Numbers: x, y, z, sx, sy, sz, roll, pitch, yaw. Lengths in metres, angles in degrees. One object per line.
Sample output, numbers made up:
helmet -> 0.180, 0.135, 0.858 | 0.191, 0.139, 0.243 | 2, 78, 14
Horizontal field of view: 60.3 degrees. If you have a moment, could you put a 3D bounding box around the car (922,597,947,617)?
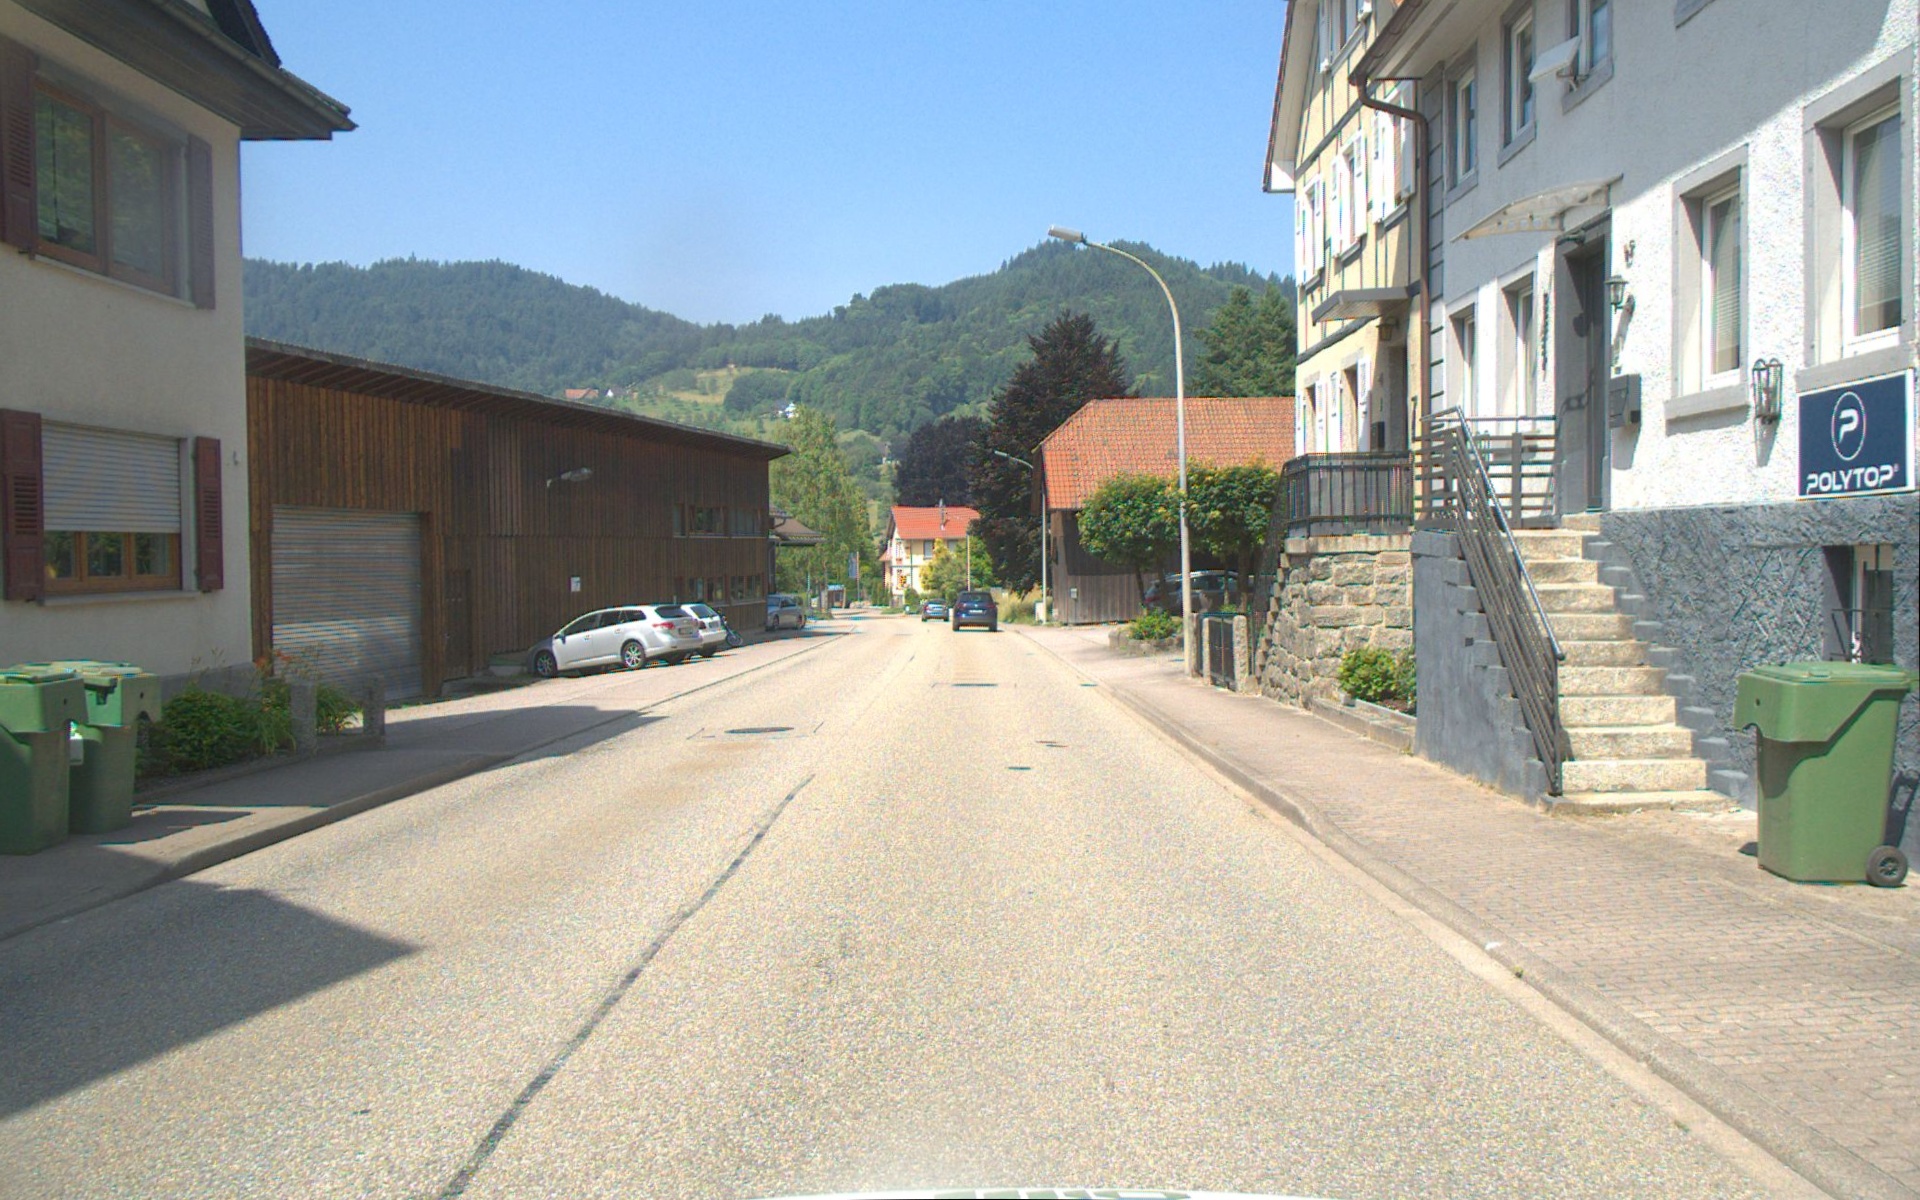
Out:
car -> -1.705, 0.446, 110.945 | 1.448, 1.230, 2.382 | -2, 0, -5

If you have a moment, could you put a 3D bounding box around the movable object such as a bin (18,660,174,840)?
movable object such as a bin -> -5.591, 0.956, 10.736 | 0.662, 1.085, 0.621 | -2, 0, -2

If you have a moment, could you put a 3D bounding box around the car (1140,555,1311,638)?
car -> 6.934, -0.094, 43.538 | 4.134, 1.716, 1.777 | -6, 0, 3

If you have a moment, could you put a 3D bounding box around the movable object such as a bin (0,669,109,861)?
movable object such as a bin -> -5.656, 0.983, 9.998 | 0.662, 1.085, 0.653 | -2, 0, -2

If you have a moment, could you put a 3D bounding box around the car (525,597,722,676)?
car -> -8.209, 0.893, 40.317 | 4.342, 1.500, 1.923 | -5, 0, 26

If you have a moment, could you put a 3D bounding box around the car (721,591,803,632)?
car -> -7.942, 0.450, 66.753 | 1.692, 1.479, 4.809 | -1, 1, 13

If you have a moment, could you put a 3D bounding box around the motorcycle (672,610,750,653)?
motorcycle -> -8.071, 1.029, 53.649 | 2.357, 1.286, 0.744 | -2, 0, 10

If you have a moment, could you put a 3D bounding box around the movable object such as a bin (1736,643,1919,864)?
movable object such as a bin -> 4.438, 0.760, 8.395 | 0.690, 1.038, 0.618 | -2, 0, 1

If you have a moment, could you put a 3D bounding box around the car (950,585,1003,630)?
car -> 0.644, 0.298, 68.229 | 1.881, 1.728, 3.786 | -2, 0, -3

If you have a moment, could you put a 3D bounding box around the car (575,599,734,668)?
car -> -7.948, 0.869, 43.141 | 3.582, 1.409, 1.712 | -6, -1, 15
